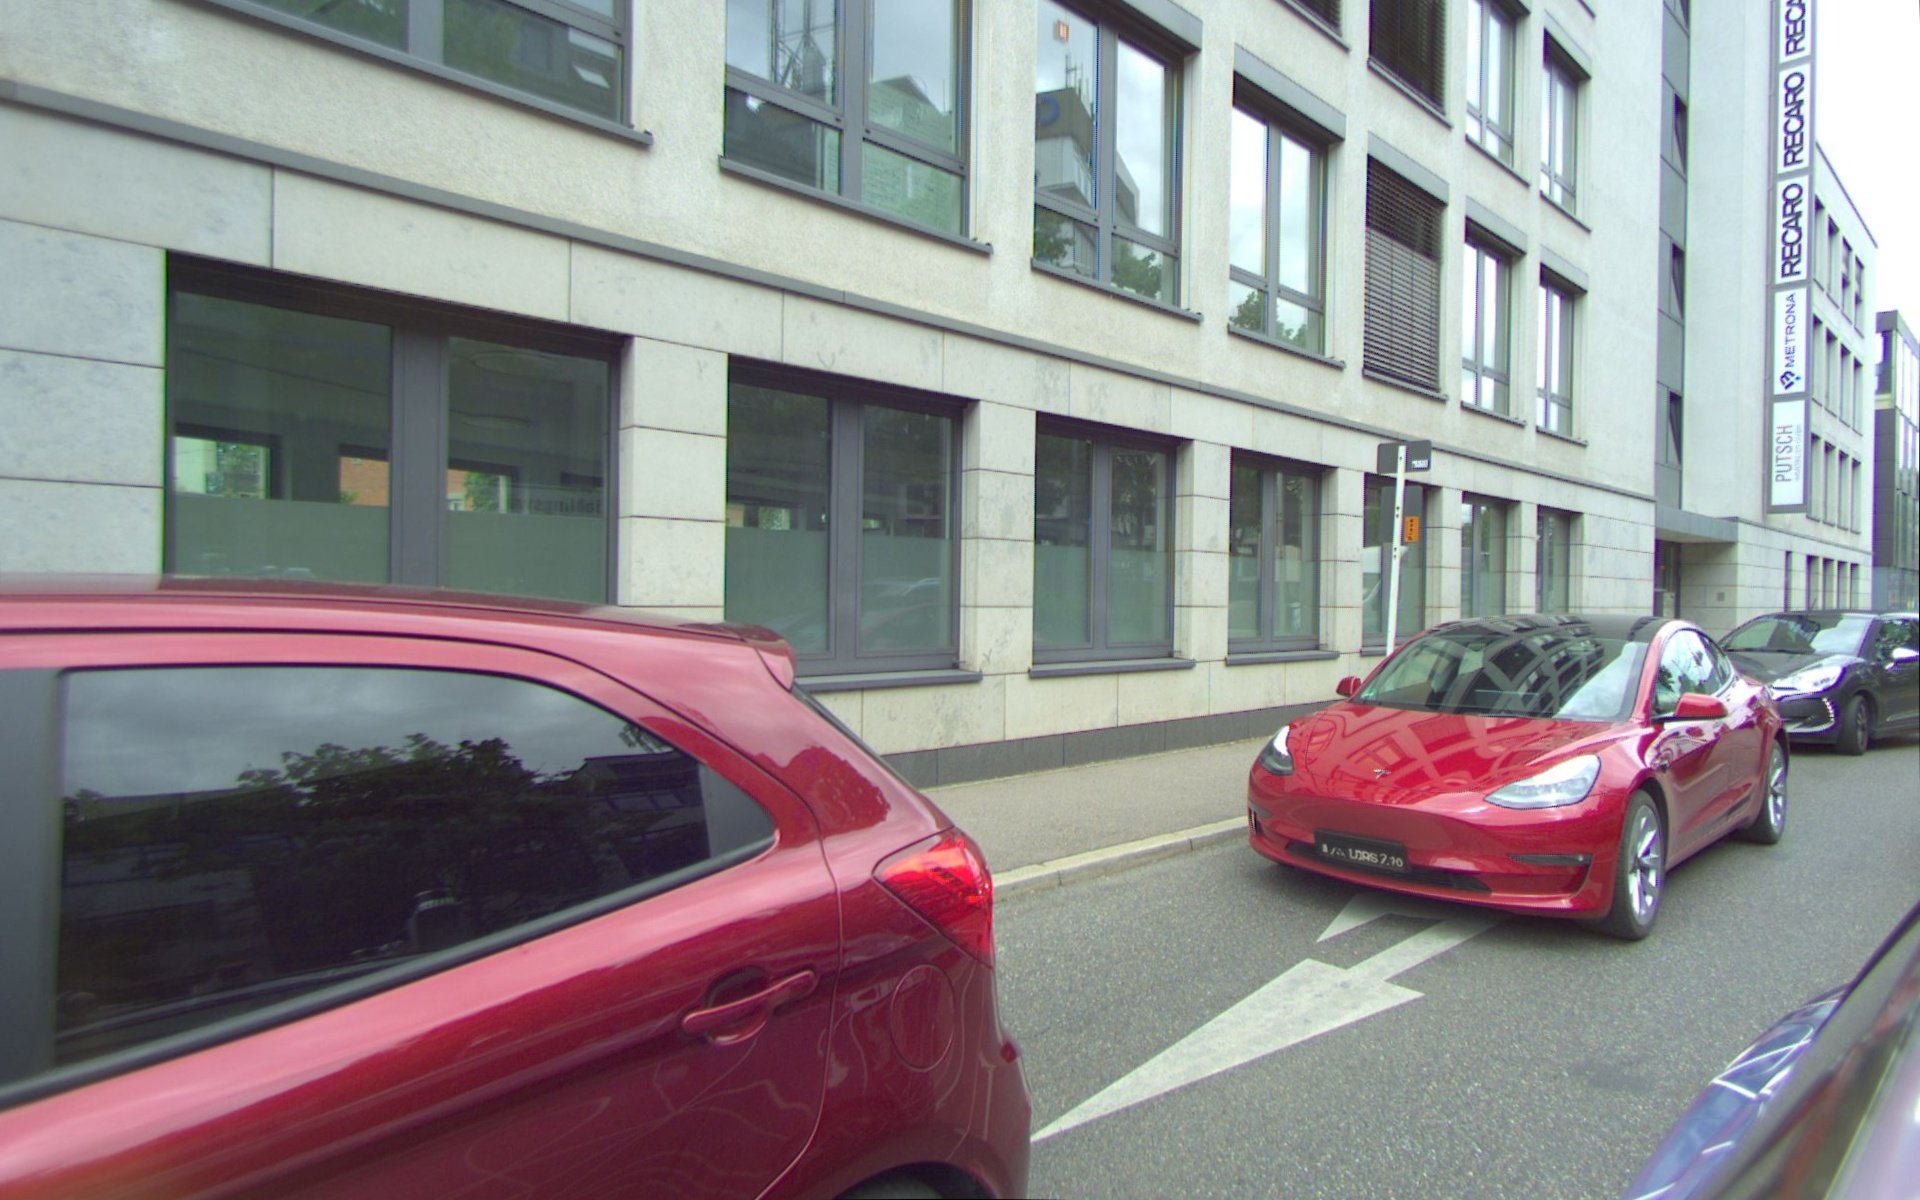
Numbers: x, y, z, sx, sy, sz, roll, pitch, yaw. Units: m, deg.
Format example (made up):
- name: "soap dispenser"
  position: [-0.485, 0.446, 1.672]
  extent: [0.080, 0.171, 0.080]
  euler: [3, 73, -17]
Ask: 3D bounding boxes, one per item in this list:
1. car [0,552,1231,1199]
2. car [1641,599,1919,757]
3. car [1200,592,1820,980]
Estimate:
- name: "car"
  position: [-1.560, 0.733, 1.433]
  extent: [3.930, 1.511, 1.888]
  euler: [0, -2, -41]
- name: "car"
  position: [9.453, 0.734, 11.073]
  extent: [3.657, 1.476, 1.748]
  euler: [0, -1, -27]
- name: "car"
  position: [3.477, 0.723, 5.992]
  extent: [4.331, 1.476, 1.823]
  euler: [0, -1, -41]
